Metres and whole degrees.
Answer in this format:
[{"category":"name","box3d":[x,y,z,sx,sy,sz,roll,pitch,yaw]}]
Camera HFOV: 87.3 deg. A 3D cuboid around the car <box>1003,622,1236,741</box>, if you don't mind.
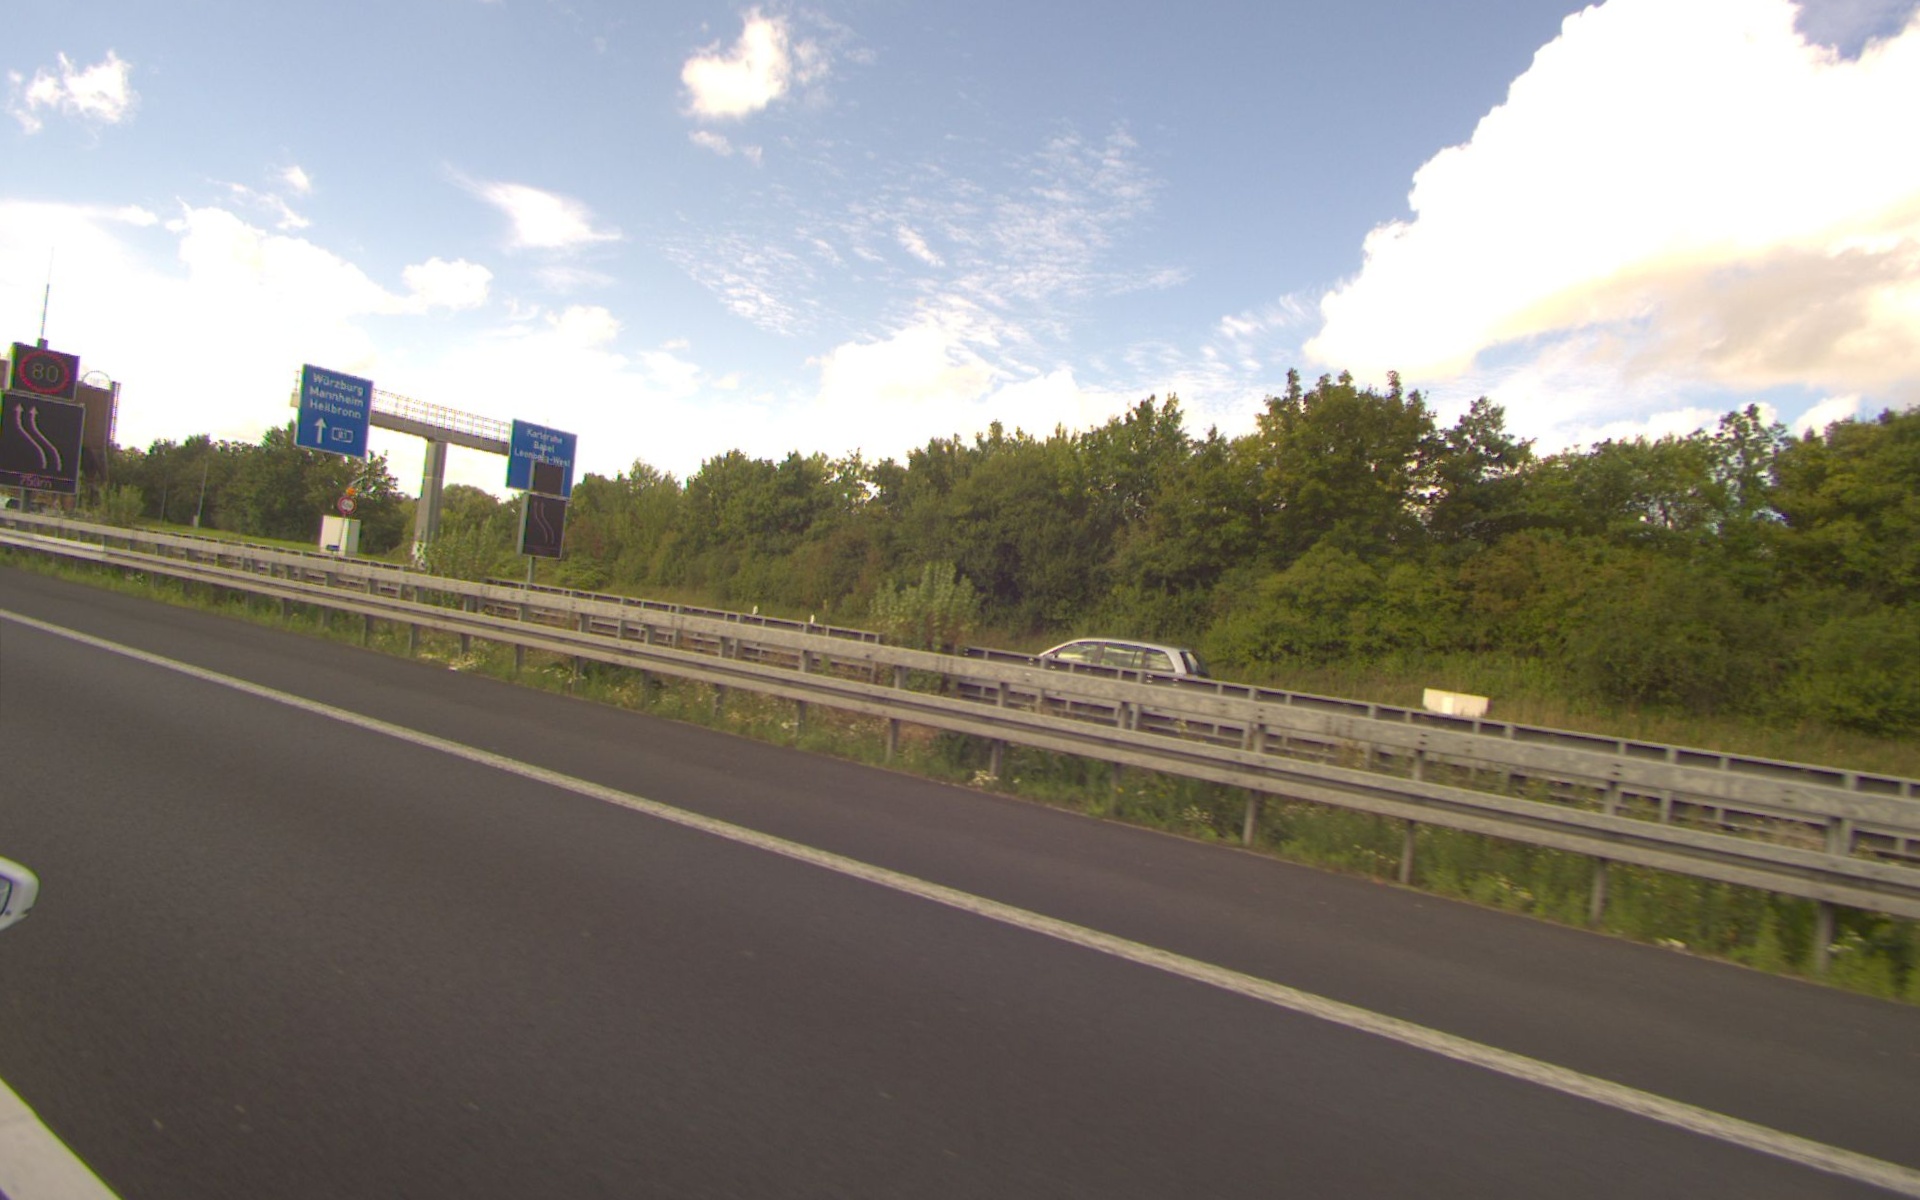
[{"category":"car","box3d":[3.124,1.534,19.845,3.933,1.730,1.995,6,1,31]}]
